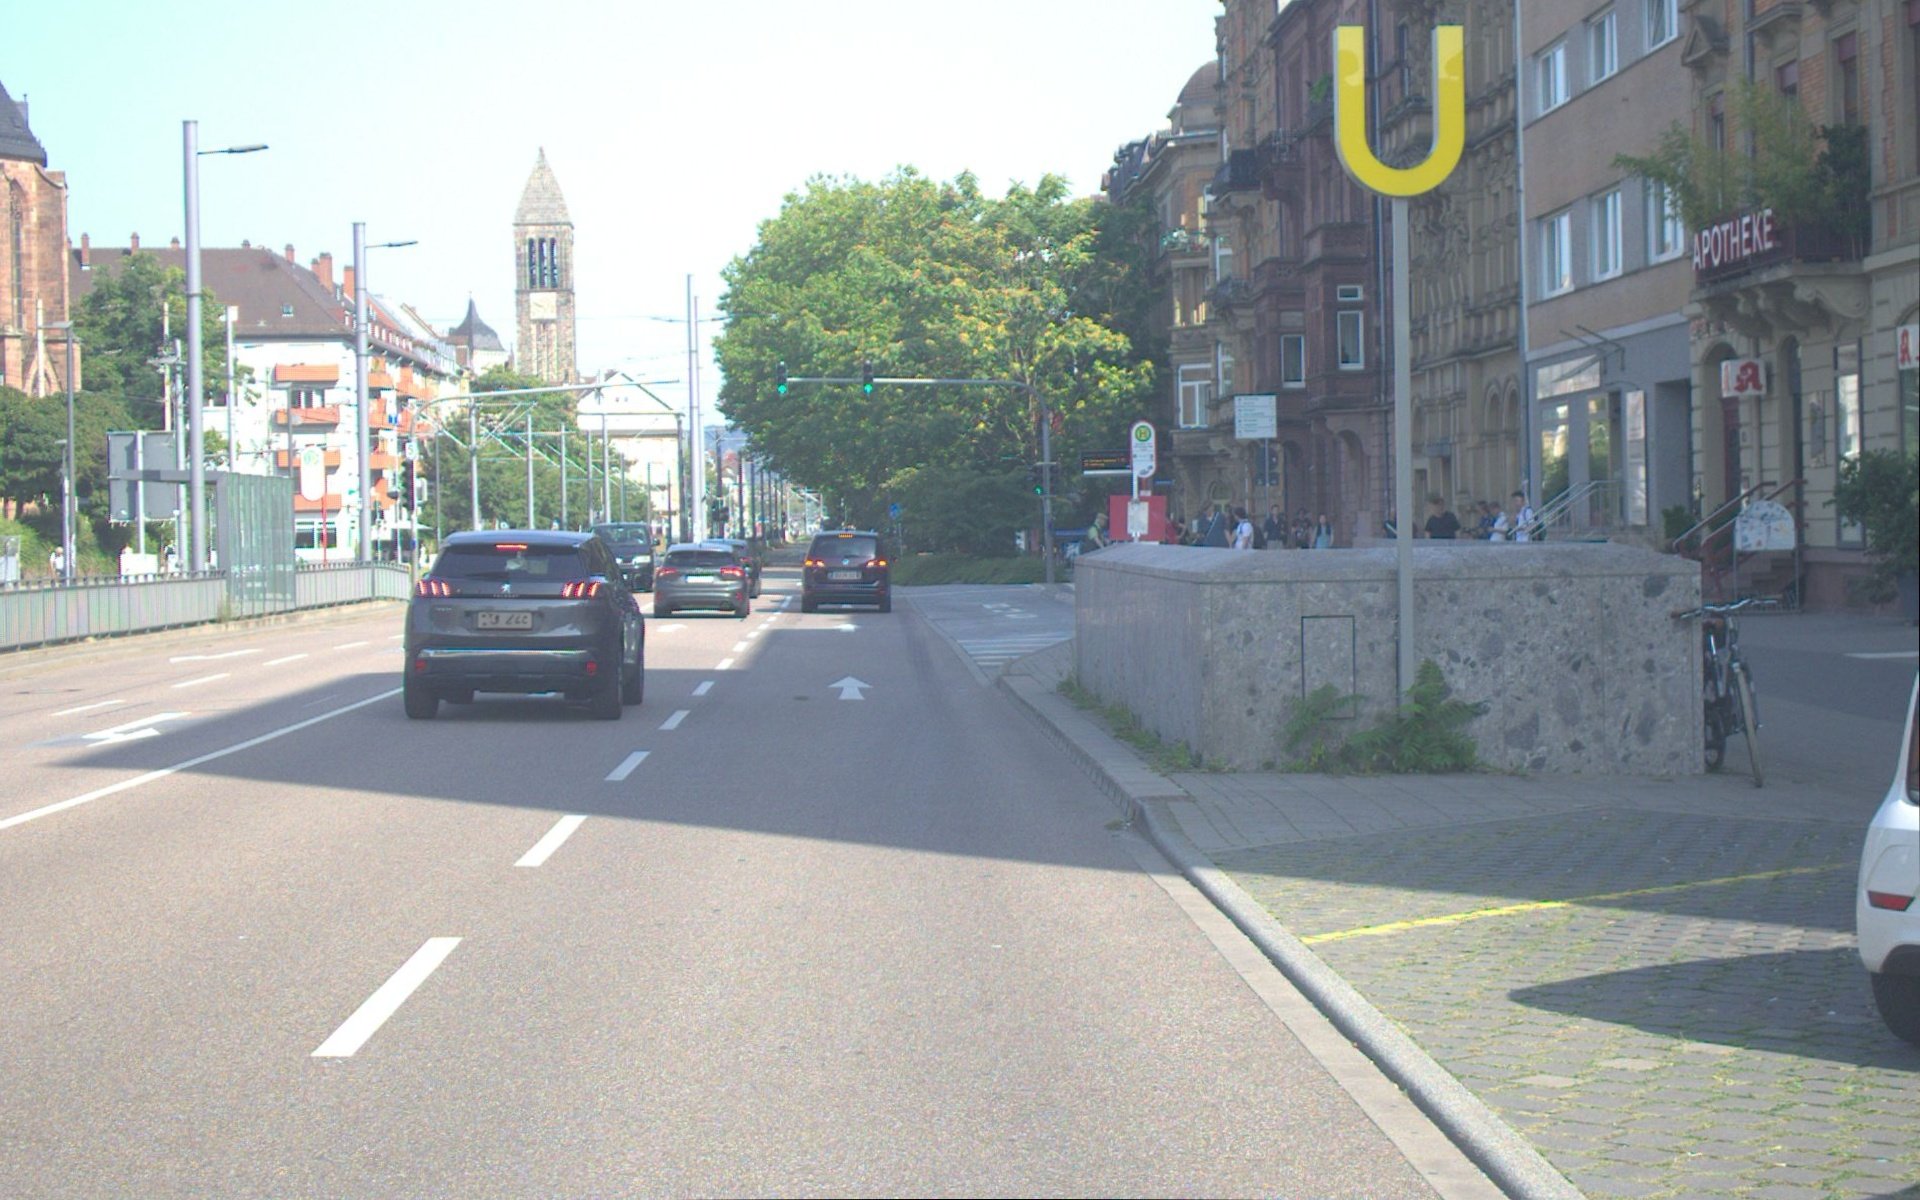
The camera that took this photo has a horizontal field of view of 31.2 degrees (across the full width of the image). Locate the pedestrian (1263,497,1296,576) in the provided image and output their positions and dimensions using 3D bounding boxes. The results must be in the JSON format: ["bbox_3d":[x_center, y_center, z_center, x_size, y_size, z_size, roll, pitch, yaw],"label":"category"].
[{"bbox_3d":[7.333,-1.458,78.913,0.617,1.798,1.071,-1,1,-1],"label":"pedestrian"}]

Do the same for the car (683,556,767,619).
[{"bbox_3d":[-5.744,-0.326,84.305,1.864,1.419,4.357,0,2,-1],"label":"car"}]

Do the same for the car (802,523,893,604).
[{"bbox_3d":[-2.343,-0.787,72.149,1.831,1.615,4.357,0,2,-1],"label":"car"}]

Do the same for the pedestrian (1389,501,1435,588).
[{"bbox_3d":[8.398,-1.037,63.876,0.720,1.604,0.856,-1,1,-1],"label":"pedestrian"}]

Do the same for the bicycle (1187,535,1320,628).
[{"bbox_3d":[3.747,-0.240,44.006,1.633,1.144,0.601,-1,1,1],"label":"bicycle"}]

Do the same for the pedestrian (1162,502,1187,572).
[{"bbox_3d":[5.308,-1.559,85.036,0.481,1.696,0.703,-1,1,-5],"label":"pedestrian"}]

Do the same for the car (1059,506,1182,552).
[{"bbox_3d":[5.814,-2.588,124.938,4.179,1.558,2.000,-1,1,-6],"label":"car"}]

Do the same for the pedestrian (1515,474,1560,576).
[{"bbox_3d":[10.433,-1.361,62.117,0.603,1.825,0.742,-1,1,-5],"label":"pedestrian"}]

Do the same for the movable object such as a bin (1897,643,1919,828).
[{"bbox_3d":[5.014,0.674,17.222,0.489,0.900,0.537,-1,1,1],"label":"movable object such as a bin"}]

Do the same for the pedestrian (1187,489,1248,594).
[{"bbox_3d":[4.562,-1.038,60.971,0.925,1.825,0.801,-1,1,-5],"label":"pedestrian"}]

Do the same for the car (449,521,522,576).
[{"bbox_3d":[-14.763,-1.625,107.174,1.713,1.606,4.505,-2,1,-2],"label":"car"}]

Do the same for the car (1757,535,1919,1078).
[{"bbox_3d":[4.072,0.520,10.227,3.519,1.459,1.622,-2,1,-43],"label":"car"}]

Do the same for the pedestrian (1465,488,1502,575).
[{"bbox_3d":[10.402,-1.361,68.331,0.603,1.725,0.511,-1,1,-5],"label":"pedestrian"}]

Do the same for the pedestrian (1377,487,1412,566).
[{"bbox_3d":[9.598,-1.623,75.955,0.629,1.713,0.691,-1,1,-2],"label":"pedestrian"}]

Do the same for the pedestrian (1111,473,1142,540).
[{"bbox_3d":[4.145,-2.320,85.486,0.690,1.658,0.619,-1,1,-1],"label":"pedestrian"}]

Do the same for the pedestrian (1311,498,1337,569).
[{"bbox_3d":[8.354,-1.521,78.894,0.486,1.604,0.813,-1,1,-1],"label":"pedestrian"}]

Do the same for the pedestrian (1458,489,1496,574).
[{"bbox_3d":[10.423,-1.384,69.351,0.603,1.686,0.587,-1,1,-5],"label":"pedestrian"}]

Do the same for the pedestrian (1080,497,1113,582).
[{"bbox_3d":[2.813,-1.251,71.009,0.565,1.723,0.745,-1,1,-5],"label":"pedestrian"}]

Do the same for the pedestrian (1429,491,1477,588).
[{"bbox_3d":[9.154,-1.132,63.875,0.720,1.781,0.856,-1,1,-1],"label":"pedestrian"}]

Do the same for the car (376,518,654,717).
[{"bbox_3d":[-3.849,0.093,30.444,1.993,1.615,4.357,0,2,-1],"label":"car"}]

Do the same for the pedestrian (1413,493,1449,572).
[{"bbox_3d":[9.905,-1.427,72.260,0.603,1.649,0.587,-1,1,-5],"label":"pedestrian"}]

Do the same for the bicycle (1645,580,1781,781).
[{"bbox_3d":[4.566,0.464,20.926,0.383,1.130,1.790,-1,1,-1],"label":"bicycle"}]

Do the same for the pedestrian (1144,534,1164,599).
[{"bbox_3d":[3.836,-0.658,68.053,0.275,1.270,0.448,-1,1,-8],"label":"pedestrian"}]

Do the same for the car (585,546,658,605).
[{"bbox_3d":[-9.239,-0.689,94.105,1.740,1.521,3.874,-1,2,-3],"label":"car"}]

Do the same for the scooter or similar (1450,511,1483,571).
[{"bbox_3d":[9.894,-1.164,67.174,0.360,1.159,1.152,-1,1,-4],"label":"scooter or similar"}]

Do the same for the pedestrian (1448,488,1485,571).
[{"bbox_3d":[10.328,-1.440,70.135,0.603,1.686,0.587,-1,1,-5],"label":"pedestrian"}]

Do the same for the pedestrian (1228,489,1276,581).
[{"bbox_3d":[5.523,-1.229,65.014,0.749,1.723,0.801,-1,1,-5],"label":"pedestrian"}]

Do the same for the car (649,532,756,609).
[{"bbox_3d":[-4.995,-0.602,67.158,1.864,1.419,4.357,0,2,-1],"label":"car"}]
